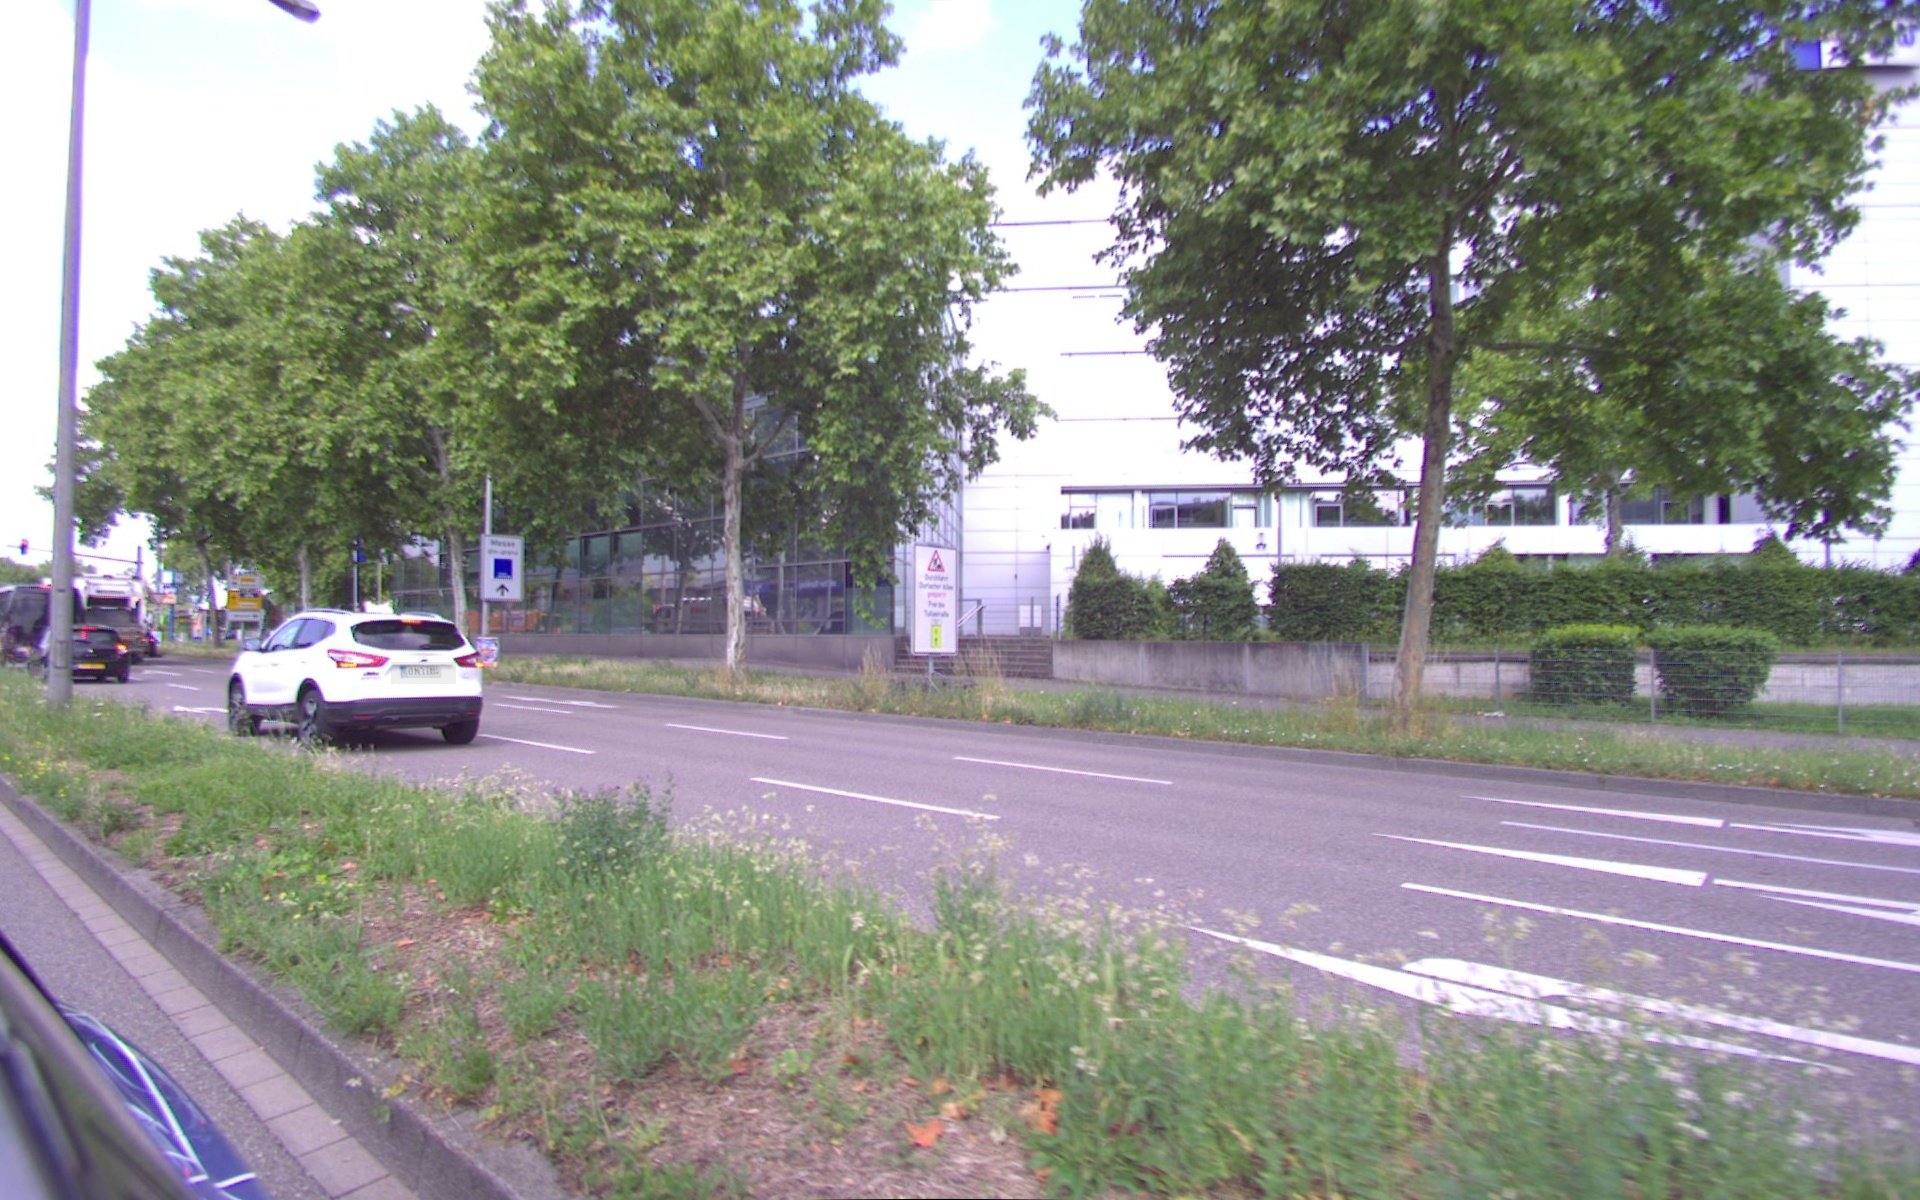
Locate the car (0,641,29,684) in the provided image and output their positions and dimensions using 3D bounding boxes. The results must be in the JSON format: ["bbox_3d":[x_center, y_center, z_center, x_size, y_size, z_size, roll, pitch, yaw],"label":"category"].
[{"bbox_3d":[-37.944,2.425,39.611,4.231,1.564,1.726,-1,-4,41],"label":"car"}]

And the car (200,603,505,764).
[{"bbox_3d":[-7.602,0.944,12.510,4.346,1.652,1.796,-1,-4,39],"label":"car"}]

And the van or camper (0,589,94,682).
[{"bbox_3d":[-29.674,1.098,32.123,6.710,2.680,2.083,-1,-3,39],"label":"van or camper"}]

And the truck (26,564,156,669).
[{"bbox_3d":[-36.099,0.771,41.857,10.156,3.918,2.621,-2,-4,42],"label":"truck"}]

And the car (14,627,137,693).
[{"bbox_3d":[-22.333,1.462,25.511,3.937,1.475,1.677,0,-2,39],"label":"car"}]
